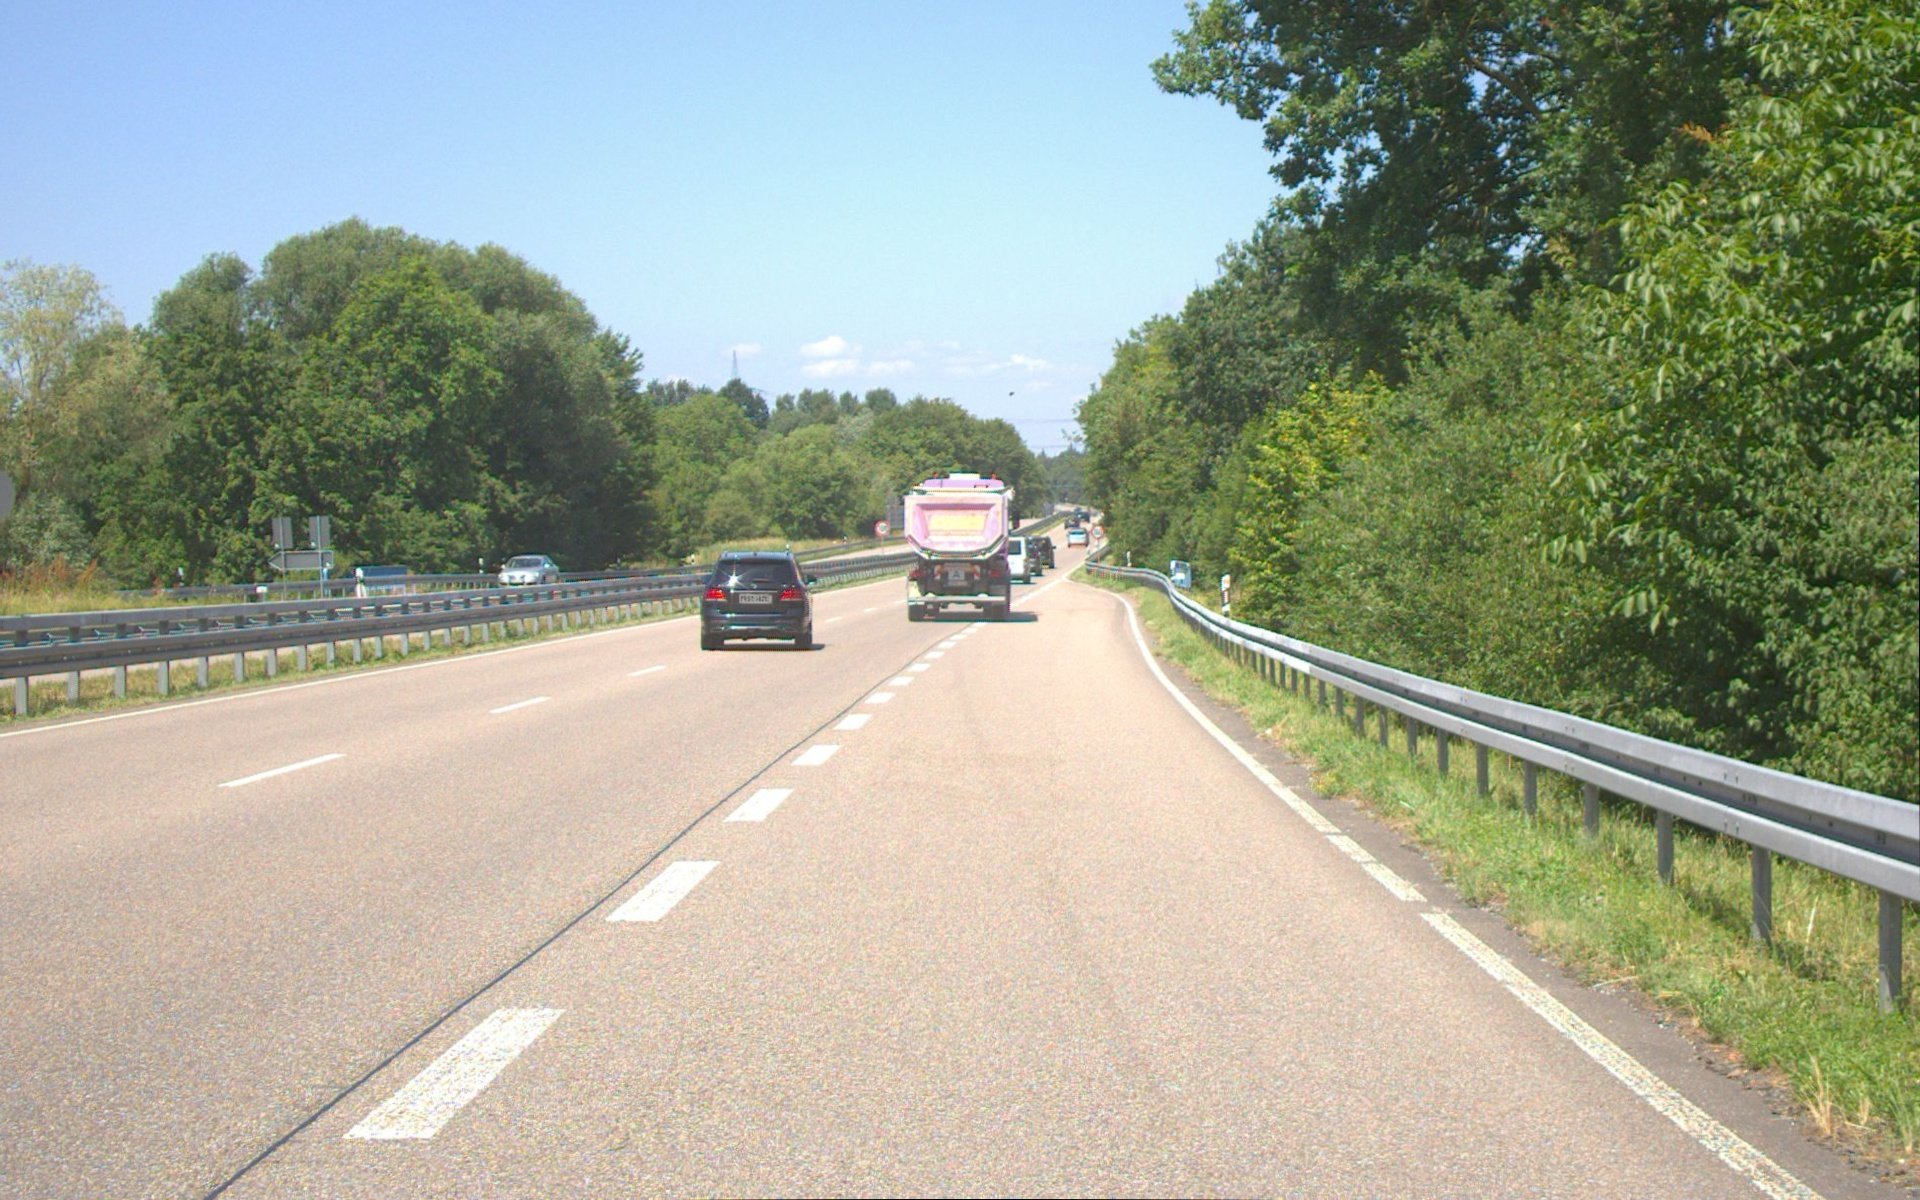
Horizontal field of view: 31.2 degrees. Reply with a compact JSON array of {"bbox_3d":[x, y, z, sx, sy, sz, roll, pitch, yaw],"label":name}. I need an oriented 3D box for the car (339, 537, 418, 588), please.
[{"bbox_3d":[-17.670,-1.126,104.652,1.918,1.484,4.000,0,0,-3],"label":"car"}]

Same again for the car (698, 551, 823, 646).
[{"bbox_3d":[-3.554,-0.037,61.899,1.857,1.665,4.000,0,0,2],"label":"car"}]

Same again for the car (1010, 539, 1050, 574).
[{"bbox_3d":[3.458,-2.114,168.676,1.857,1.665,4.000,0,0,2],"label":"car"}]

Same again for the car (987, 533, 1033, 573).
[{"bbox_3d":[2.171,-1.997,146.979,1.857,1.665,4.000,0,0,2],"label":"car"}]

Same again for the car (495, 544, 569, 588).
[{"bbox_3d":[-16.684,-1.342,134.262,1.724,1.639,4.942,1,1,7],"label":"car"}]

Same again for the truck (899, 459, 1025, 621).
[{"bbox_3d":[0.167,-1.662,89.445,2.720,3.916,12.370,0,2,3],"label":"truck"}]

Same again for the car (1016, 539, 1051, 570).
[{"bbox_3d":[4.051,-2.525,190.199,1.857,1.665,4.000,0,0,2],"label":"car"}]
